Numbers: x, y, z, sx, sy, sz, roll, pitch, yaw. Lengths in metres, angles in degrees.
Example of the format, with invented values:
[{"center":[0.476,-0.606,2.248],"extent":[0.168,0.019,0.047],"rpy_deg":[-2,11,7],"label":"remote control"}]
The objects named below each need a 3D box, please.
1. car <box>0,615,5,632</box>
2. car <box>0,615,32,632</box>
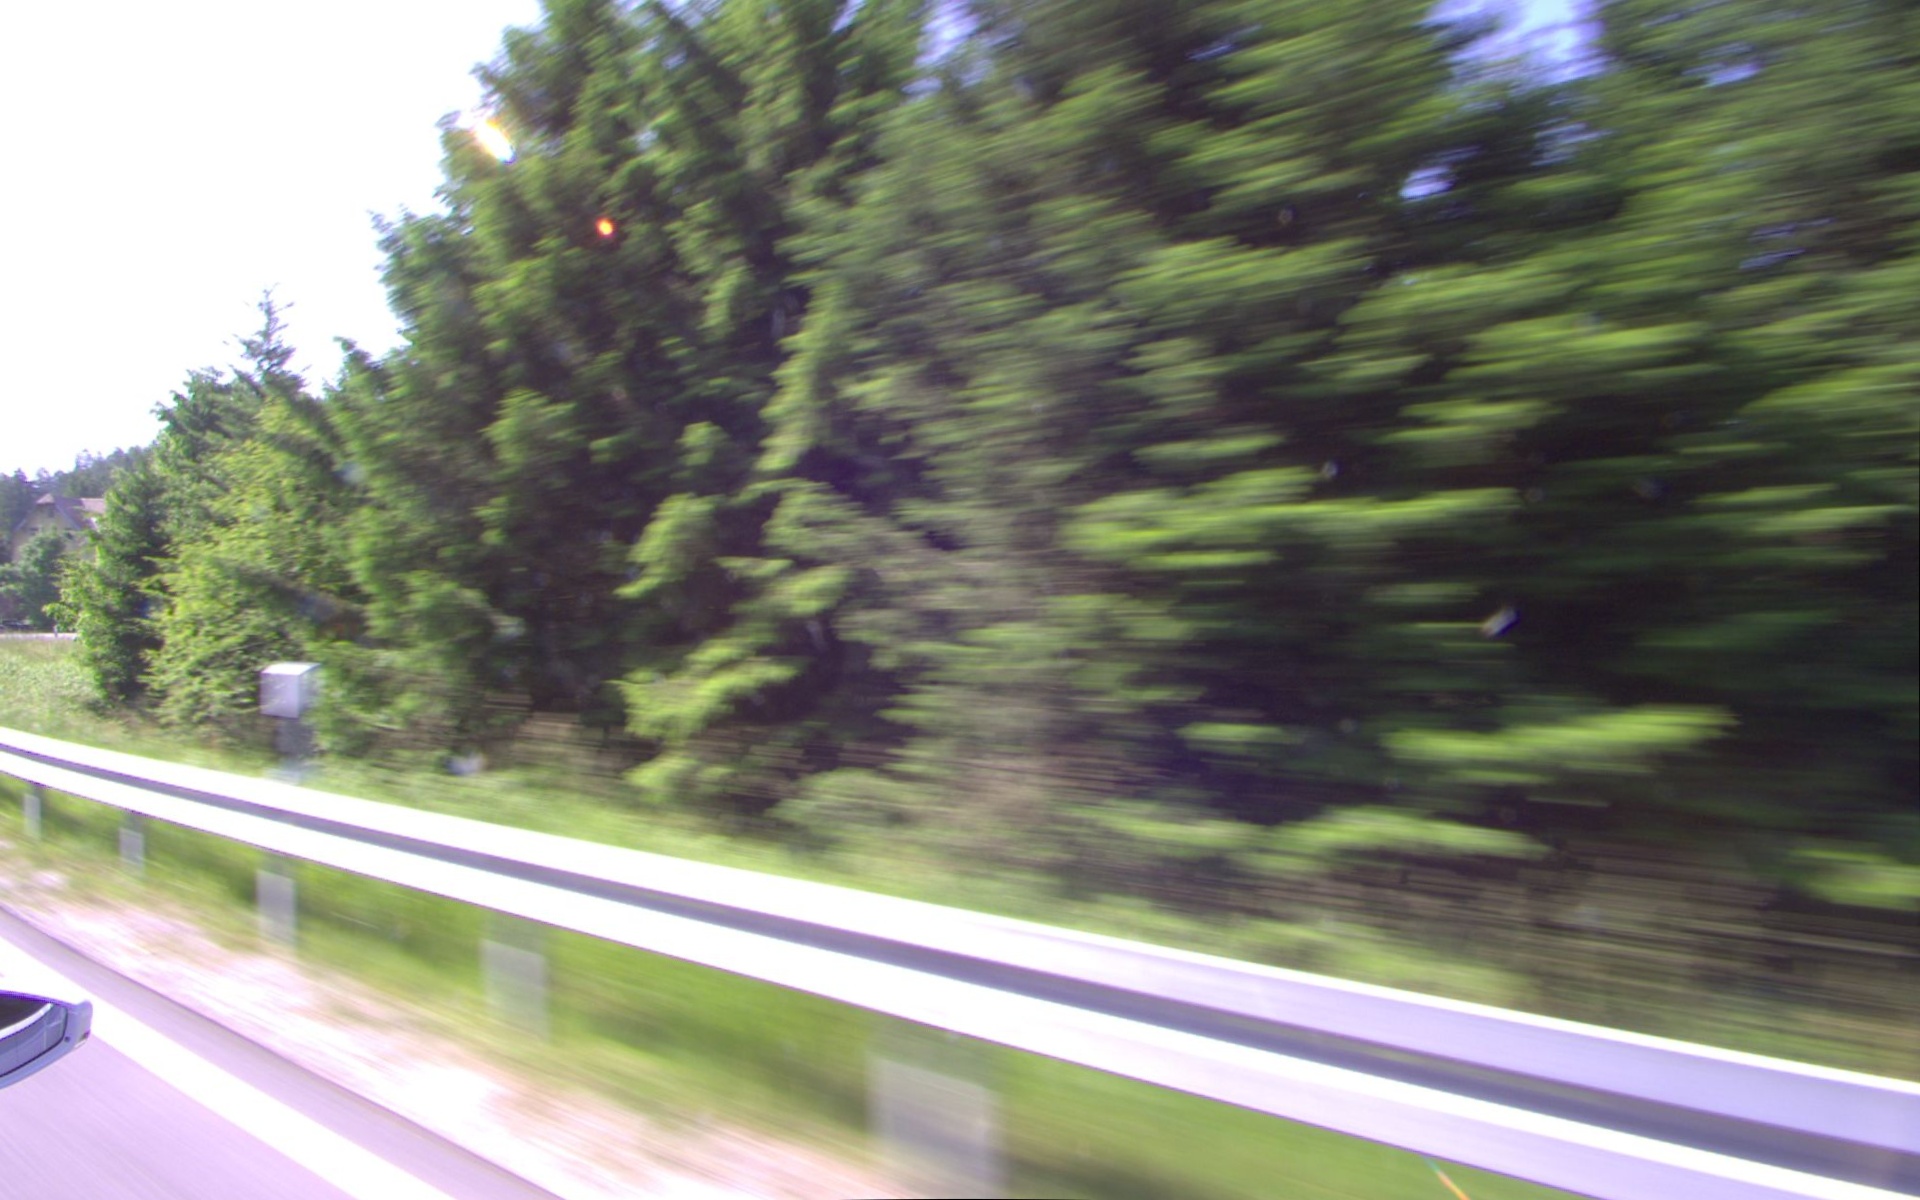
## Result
[{"center":[-99.772,2.452,102.280],"extent":[1.831,1.693,4.366],"rpy_deg":[-2,1,-26],"label":"car"},{"center":[-97.322,2.395,102.650],"extent":[1.864,1.670,4.278],"rpy_deg":[-2,1,-25],"label":"car"}]
